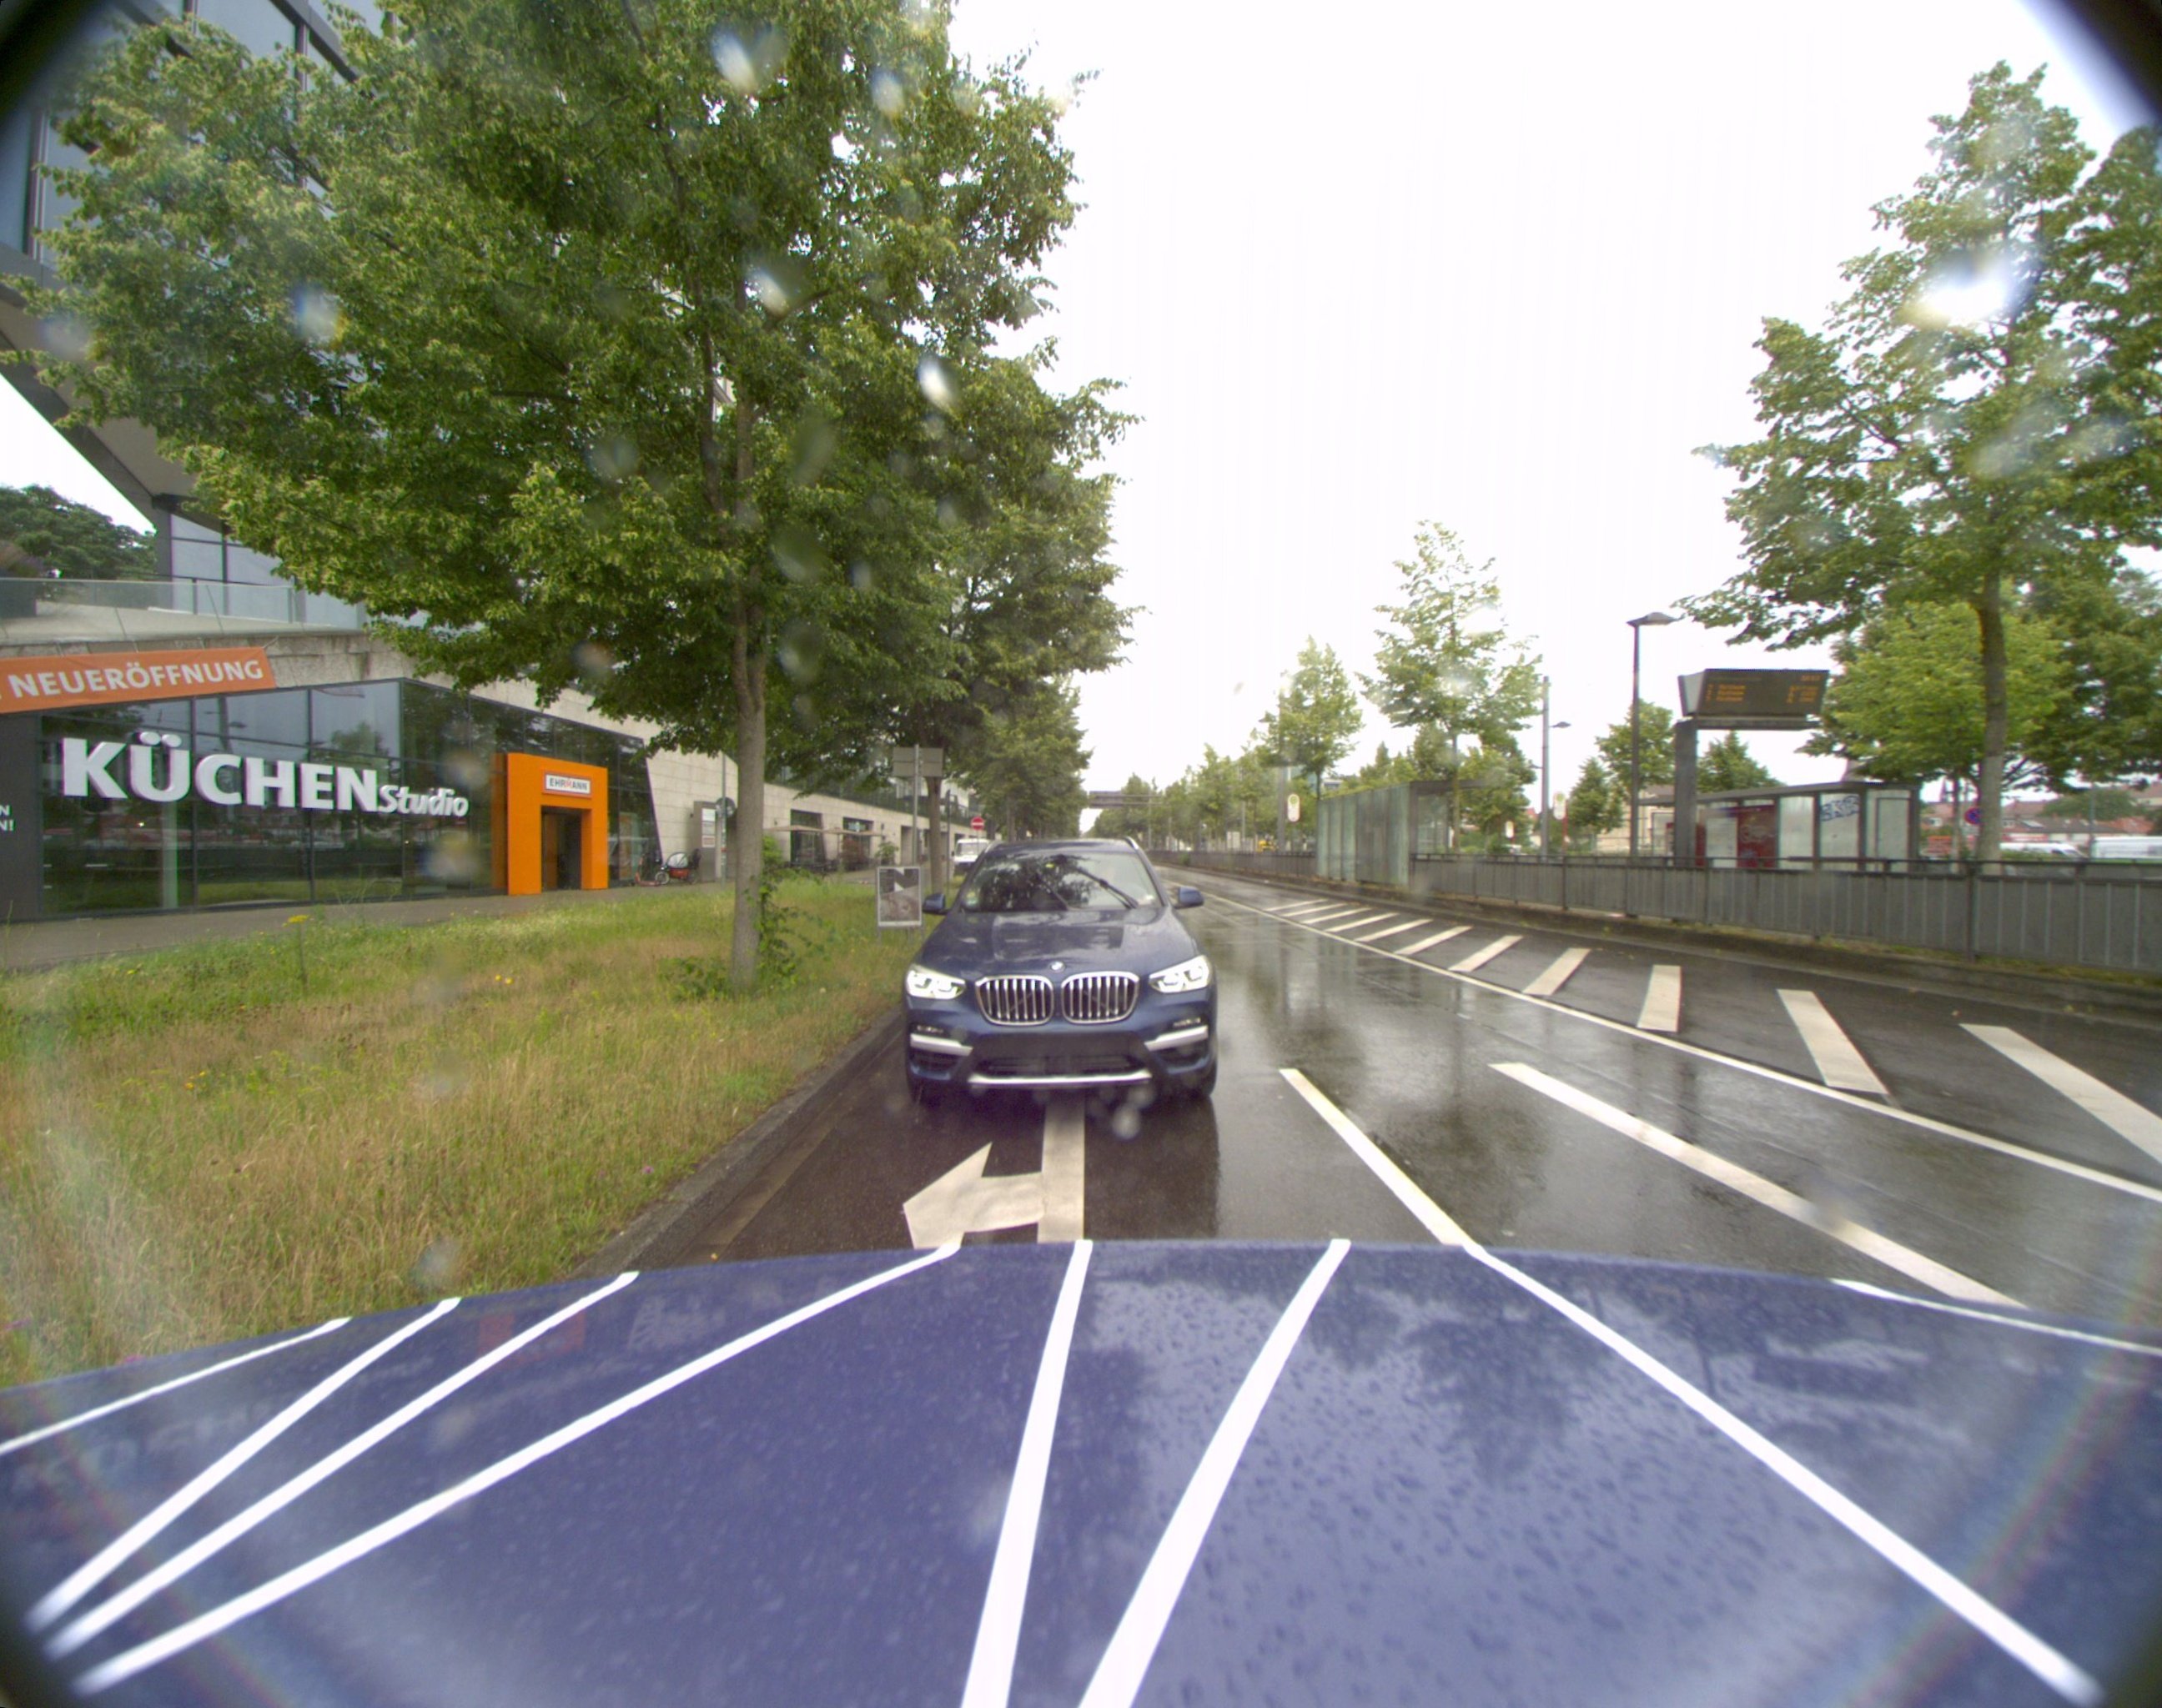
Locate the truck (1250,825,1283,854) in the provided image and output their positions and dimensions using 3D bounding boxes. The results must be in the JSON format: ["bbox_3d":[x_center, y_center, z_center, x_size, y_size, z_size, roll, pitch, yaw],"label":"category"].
[{"bbox_3d":[25.627,-2.046,105.314,2.693,3.756,9.182,-2,1,3],"label":"truck"}]

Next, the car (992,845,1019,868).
[{"bbox_3d":[-6.127,0.162,62.212,1.746,1.749,4.847,-1,1,0],"label":"car"}]

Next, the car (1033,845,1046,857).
[{"bbox_3d":[-6.042,-0.462,111.484,1.659,1.711,3.999,-2,1,0],"label":"car"}]

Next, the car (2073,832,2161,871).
[{"bbox_3d":[70.056,-0.185,49.411,1.999,2.448,6.744,-2,1,-4],"label":"car"}]

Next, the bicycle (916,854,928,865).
[{"bbox_3d":[-13.280,0.448,63.554,0.402,0.940,1.859,-1,1,8],"label":"bicycle"}]

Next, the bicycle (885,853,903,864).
[{"bbox_3d":[-15.306,0.374,62.117,0.396,0.940,2.024,-4,2,-45],"label":"bicycle"}]

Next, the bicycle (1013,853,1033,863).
[{"bbox_3d":[-5.829,0.403,76.415,2.040,0.940,0.395,-2,2,-4],"label":"bicycle"}]

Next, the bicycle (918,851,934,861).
[{"bbox_3d":[-16.266,0.193,79.663,1.657,0.940,0.347,1,2,19],"label":"bicycle"}]

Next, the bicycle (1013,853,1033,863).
[{"bbox_3d":[-5.738,0.418,75.488,1.882,0.940,0.395,-2,2,-4],"label":"bicycle"}]

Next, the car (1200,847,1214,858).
[{"bbox_3d":[22.841,-0.268,137.435,1.761,2.002,3.999,0,1,-1],"label":"car"}]

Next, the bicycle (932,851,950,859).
[{"bbox_3d":[-15.982,0.095,86.661,2.029,0.940,0.395,1,1,-4],"label":"bicycle"}]

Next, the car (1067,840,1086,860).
[{"bbox_3d":[-0.470,-0.487,86.805,1.998,2.232,3.999,-2,1,1],"label":"car"}]

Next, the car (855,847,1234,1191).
[{"bbox_3d":[-0.149,0.810,5.765,1.816,1.603,3.999,-2,1,1],"label":"car"}]

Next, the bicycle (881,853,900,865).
[{"bbox_3d":[-15.384,0.393,61.327,0.396,0.940,2.024,-4,2,-45],"label":"bicycle"}]

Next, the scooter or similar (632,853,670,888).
[{"bbox_3d":[-15.674,0.594,27.722,0.342,1.221,1.242,-2,2,19],"label":"scooter or similar"}]

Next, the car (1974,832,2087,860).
[{"bbox_3d":[84.239,-0.751,67.575,2.000,2.293,6.138,-3,1,-9],"label":"car"}]

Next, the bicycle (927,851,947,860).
[{"bbox_3d":[-15.825,0.138,83.542,2.029,0.940,0.395,1,1,-4],"label":"bicycle"}]

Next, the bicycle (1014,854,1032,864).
[{"bbox_3d":[-5.610,0.465,73.654,1.649,0.940,0.395,-2,2,-4],"label":"bicycle"}]

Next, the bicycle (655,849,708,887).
[{"bbox_3d":[-15.451,0.528,29.460,0.734,1.394,2.425,1,0,1],"label":"bicycle"}]

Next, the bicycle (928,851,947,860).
[{"bbox_3d":[-15.887,0.130,84.224,2.029,0.940,0.395,1,1,-4],"label":"bicycle"}]

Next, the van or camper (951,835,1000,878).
[{"bbox_3d":[-5.937,0.097,43.389,2.030,2.279,5.458,-1,1,0],"label":"van or camper"}]

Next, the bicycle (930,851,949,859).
[{"bbox_3d":[-15.888,0.105,85.416,2.029,0.940,0.395,1,1,-4],"label":"bicycle"}]

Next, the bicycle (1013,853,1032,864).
[{"bbox_3d":[-5.743,0.431,74.925,1.862,0.940,0.395,-2,2,-4],"label":"bicycle"}]

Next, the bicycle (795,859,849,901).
[{"bbox_3d":[-8.615,0.861,25.280,1.843,1.338,0.533,-1,0,26],"label":"bicycle"}]

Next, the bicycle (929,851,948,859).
[{"bbox_3d":[-15.918,0.123,84.834,2.029,0.940,0.395,1,1,-4],"label":"bicycle"}]

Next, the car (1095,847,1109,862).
[{"bbox_3d":[3.359,0.066,122.773,1.998,2.232,3.999,-2,1,1],"label":"car"}]

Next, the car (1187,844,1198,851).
[{"bbox_3d":[27.548,-1.642,187.673,1.999,1.736,3.998,-2,1,-2],"label":"car"}]
